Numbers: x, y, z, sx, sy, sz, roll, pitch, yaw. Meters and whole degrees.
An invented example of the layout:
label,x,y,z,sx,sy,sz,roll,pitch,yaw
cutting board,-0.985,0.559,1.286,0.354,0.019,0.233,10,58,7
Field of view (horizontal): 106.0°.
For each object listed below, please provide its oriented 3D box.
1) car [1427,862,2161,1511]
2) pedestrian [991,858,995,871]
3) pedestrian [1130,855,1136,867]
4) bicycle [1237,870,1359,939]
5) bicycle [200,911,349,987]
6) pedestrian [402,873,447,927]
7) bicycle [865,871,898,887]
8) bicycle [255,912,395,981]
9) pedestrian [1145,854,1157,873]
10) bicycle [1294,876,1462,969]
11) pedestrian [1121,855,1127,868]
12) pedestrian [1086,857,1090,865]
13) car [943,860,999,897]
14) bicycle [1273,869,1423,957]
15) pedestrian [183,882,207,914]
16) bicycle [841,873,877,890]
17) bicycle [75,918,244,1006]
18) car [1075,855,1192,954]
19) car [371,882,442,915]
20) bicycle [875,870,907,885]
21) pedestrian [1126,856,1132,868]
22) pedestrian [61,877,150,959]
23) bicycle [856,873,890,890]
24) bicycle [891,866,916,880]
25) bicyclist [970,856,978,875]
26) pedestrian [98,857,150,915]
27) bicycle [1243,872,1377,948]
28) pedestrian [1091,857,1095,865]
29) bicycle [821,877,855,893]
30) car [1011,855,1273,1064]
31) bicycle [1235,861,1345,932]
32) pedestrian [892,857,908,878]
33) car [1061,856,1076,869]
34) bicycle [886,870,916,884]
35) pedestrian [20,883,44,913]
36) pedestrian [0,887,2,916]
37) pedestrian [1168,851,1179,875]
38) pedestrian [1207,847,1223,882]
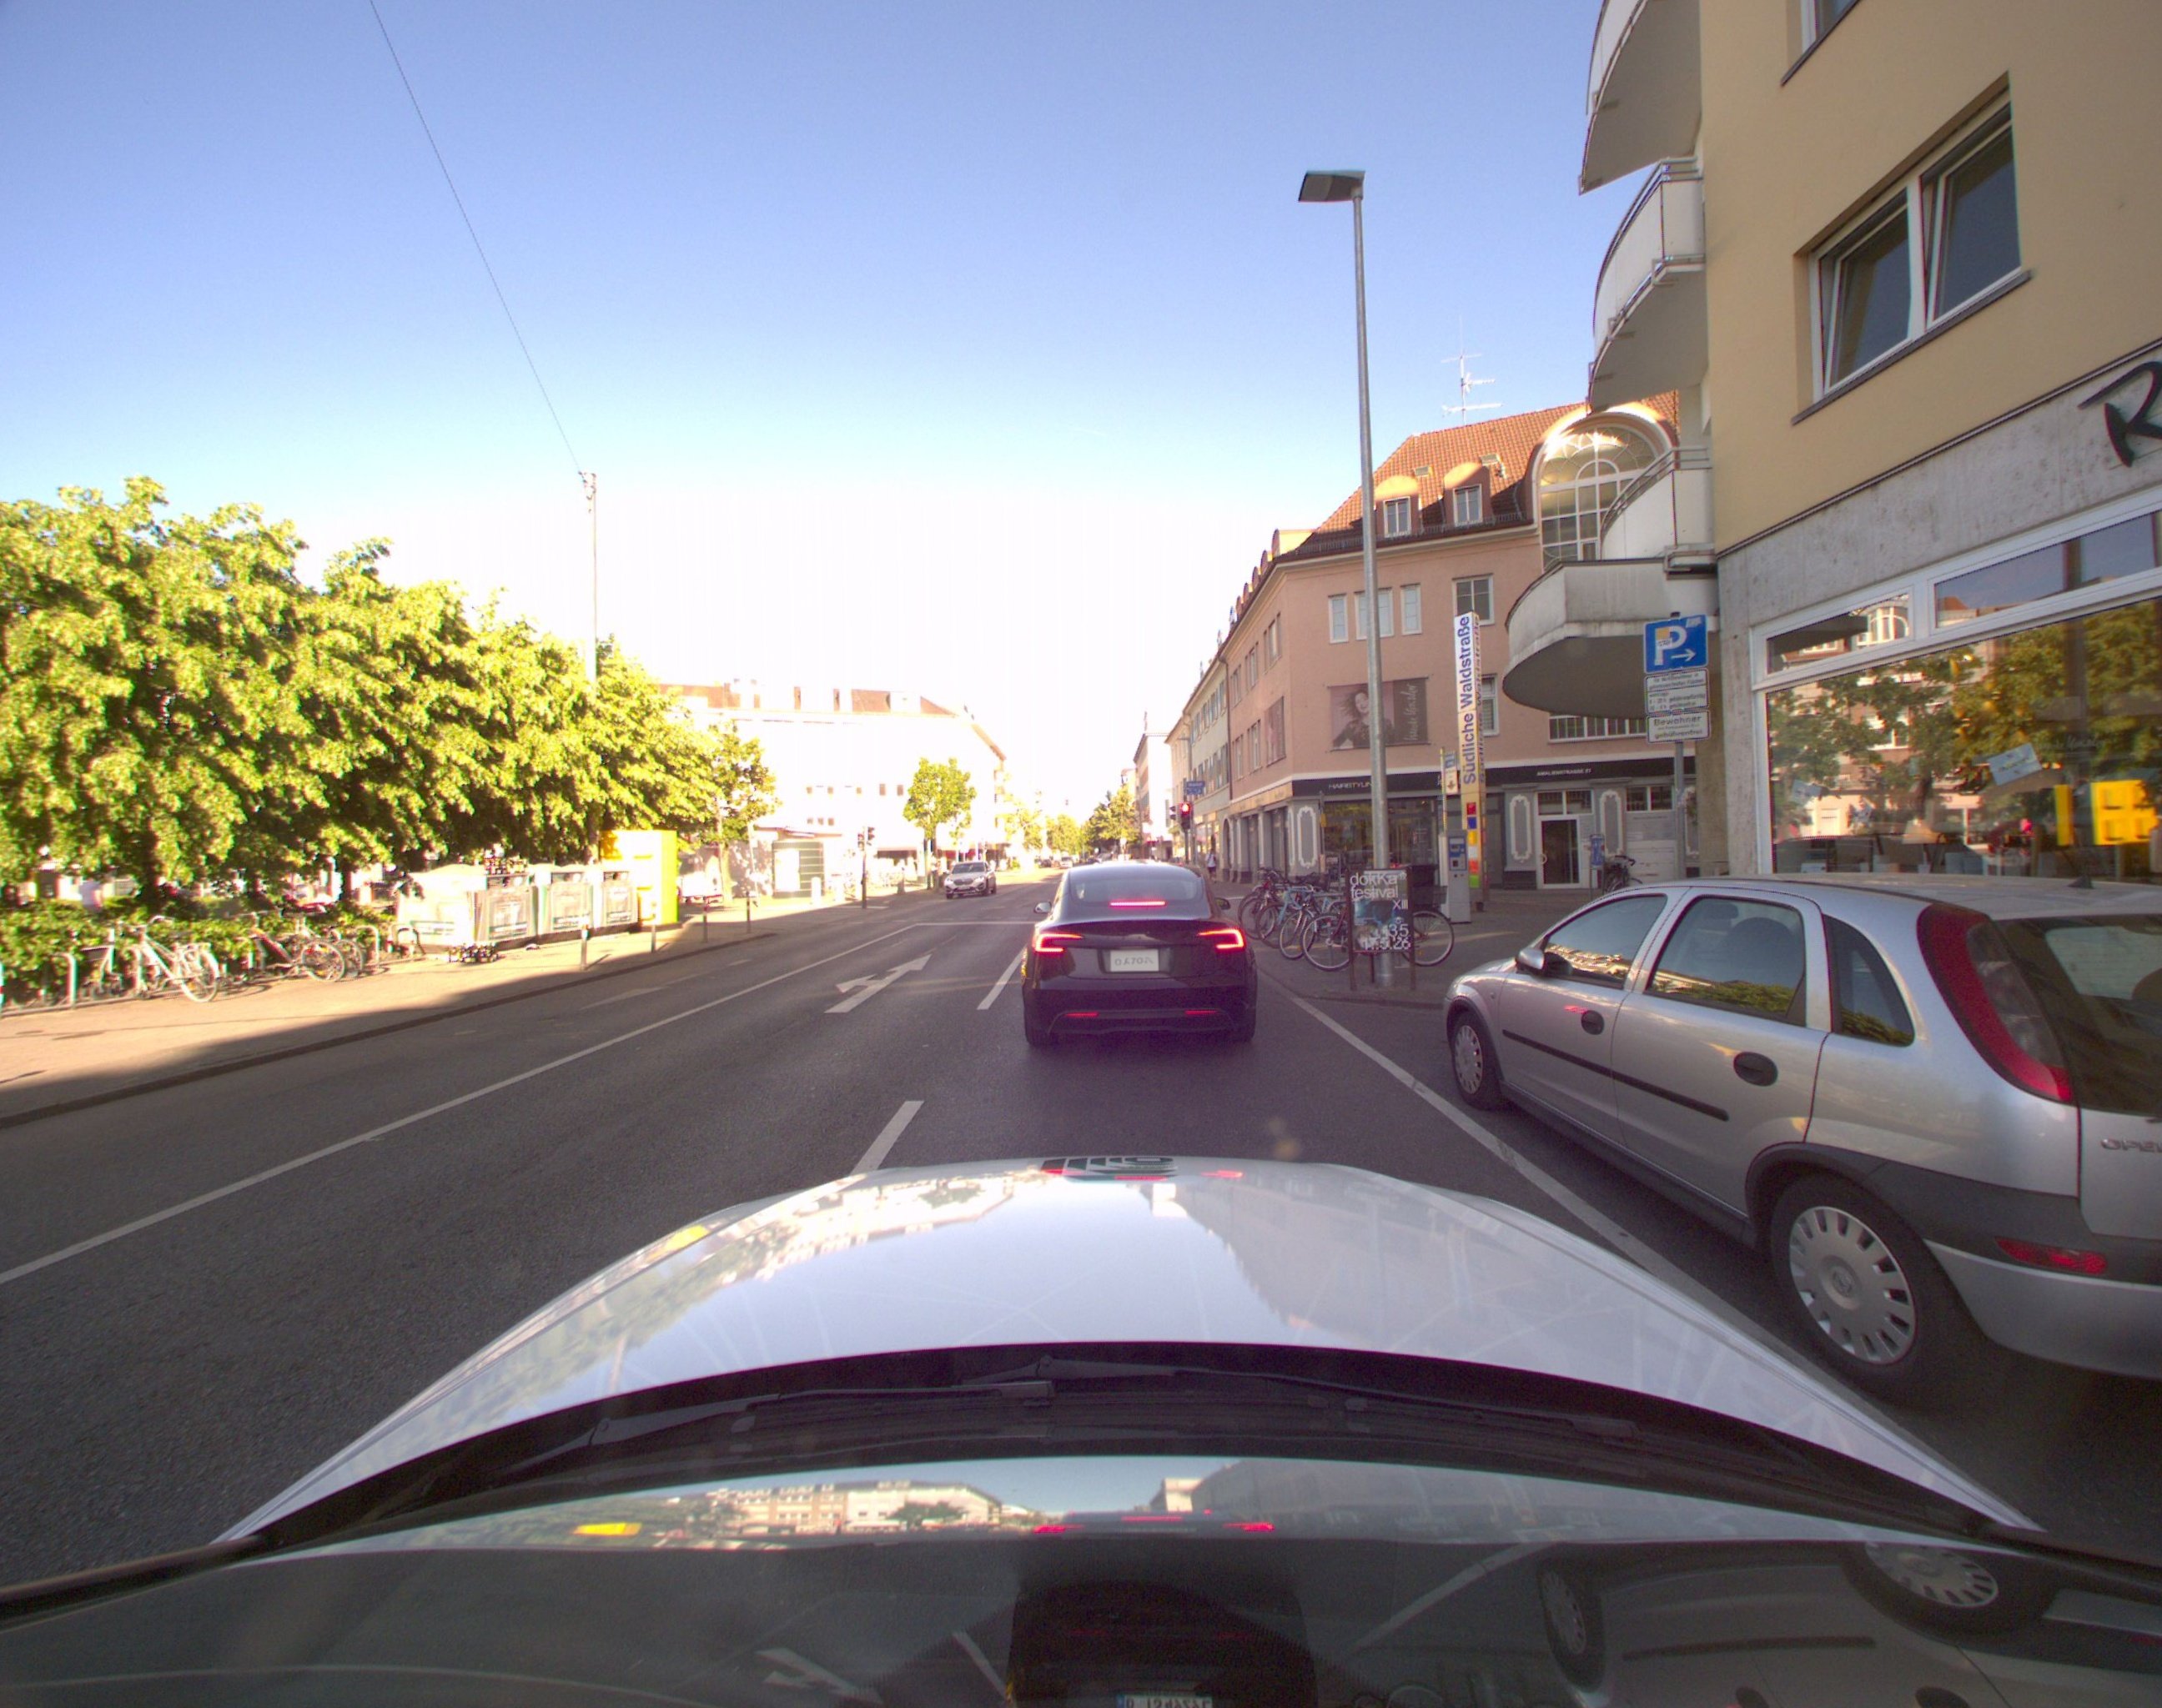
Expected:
label,x,y,z,sx,sy,sz,roll,pitch,yaw
car,2.949,0.750,3.518,1.540,1.390,3.479,-1,-1,3
pedestrian,-10.291,1.260,95.290,0.459,1.460,0.517,-1,0,-3
pedestrian,6.109,0.868,95.852,0.524,1.422,0.475,0,-1,-28
bicycle,3.605,0.838,13.628,1.863,1.038,0.548,-3,-1,7
bicycle,-11.532,1.345,11.648,1.913,1.003,0.518,-1,-1,11
pedestrian,-25.220,1.734,31.287,1.025,2.014,1.061,-1,-1,31
bicycle,-12.308,1.543,50.231,1.857,0.934,0.606,0,-1,0
bicycle,-11.325,1.369,12.205,1.888,0.955,0.518,-1,-1,11
pedestrian,5.938,0.806,69.378,0.756,1.631,0.951,0,-1,-16
bicycle,3.621,0.837,10.019,1.862,1.038,0.354,-3,-1,8
pedestrian,5.029,0.886,95.757,0.474,1.417,0.517,0,-1,-29
pedestrian,1.783,1.722,203.362,0.927,2.014,0.939,0,-1,1
car,-4.862,1.043,36.340,1.782,1.460,3.759,-4,-1,2
bicycle,3.647,0.806,11.198,1.864,1.087,0.415,-3,-1,5
pedestrian,-48.864,2.427,44.899,0.842,1.717,0.761,-2,-1,35
bicycle,-12.429,1.544,45.660,1.857,0.934,0.606,-1,0,0
bicycle,-11.627,1.337,10.282,1.919,1.015,0.518,-1,-1,12
car,0.791,0.748,13.912,1.712,1.425,3.757,-1,0,0
car,-31.176,2.006,37.621,3.526,1.386,1.703,-1,0,36
bicycle,-12.269,1.536,52.640,1.857,0.934,0.606,-1,0,0
pedestrian,5.672,0.976,95.345,0.524,1.422,0.475,0,-1,-28
pedestrian,-24.983,1.599,20.878,1.051,2.014,0.971,0,-1,-10
bicycle,-12.183,1.611,47.752,1.857,0.934,0.606,0,-1,0
bicycle,-17.118,1.813,78.588,2.373,1.296,0.509,0,-1,-25
bicyclist,-8.711,0.923,66.482,0.525,1.503,0.472,0,-1,-24
pedestrian,-34.339,1.137,29.238,0.890,2.013,0.893,-1,0,15
bicycle,3.488,0.851,12.497,1.864,1.038,0.534,-3,-1,5
pedestrian,3.064,1.712,203.246,0.927,2.014,0.939,0,-1,1
bicycle,-12.841,1.629,43.084,1.640,0.792,0.606,0,-1,-3
car,0.490,0.761,7.744,1.815,1.442,4.001,-1,-1,2
bicycle,3.774,0.760,14.792,1.818,1.169,0.507,-3,-1,7
pedestrian,-17.968,1.332,80.840,1.048,2.014,1.060,-1,-1,19
car,-1.715,1.172,110.515,1.780,1.646,4.404,0,-1,2
bicycle,-12.189,1.555,55.088,1.857,0.934,0.606,-1,0,0
pedestrian,-78.092,3.256,60.632,0.891,2.171,0.882,-1,-1,26
pedestrian,-75.250,3.275,56.028,0.904,2.014,0.870,0,-1,-25
pedestrian,6.702,0.656,59.025,0.704,1.742,0.540,-1,0,1
pedestrian,6.863,0.540,41.816,0.747,1.765,0.838,0,-1,6
